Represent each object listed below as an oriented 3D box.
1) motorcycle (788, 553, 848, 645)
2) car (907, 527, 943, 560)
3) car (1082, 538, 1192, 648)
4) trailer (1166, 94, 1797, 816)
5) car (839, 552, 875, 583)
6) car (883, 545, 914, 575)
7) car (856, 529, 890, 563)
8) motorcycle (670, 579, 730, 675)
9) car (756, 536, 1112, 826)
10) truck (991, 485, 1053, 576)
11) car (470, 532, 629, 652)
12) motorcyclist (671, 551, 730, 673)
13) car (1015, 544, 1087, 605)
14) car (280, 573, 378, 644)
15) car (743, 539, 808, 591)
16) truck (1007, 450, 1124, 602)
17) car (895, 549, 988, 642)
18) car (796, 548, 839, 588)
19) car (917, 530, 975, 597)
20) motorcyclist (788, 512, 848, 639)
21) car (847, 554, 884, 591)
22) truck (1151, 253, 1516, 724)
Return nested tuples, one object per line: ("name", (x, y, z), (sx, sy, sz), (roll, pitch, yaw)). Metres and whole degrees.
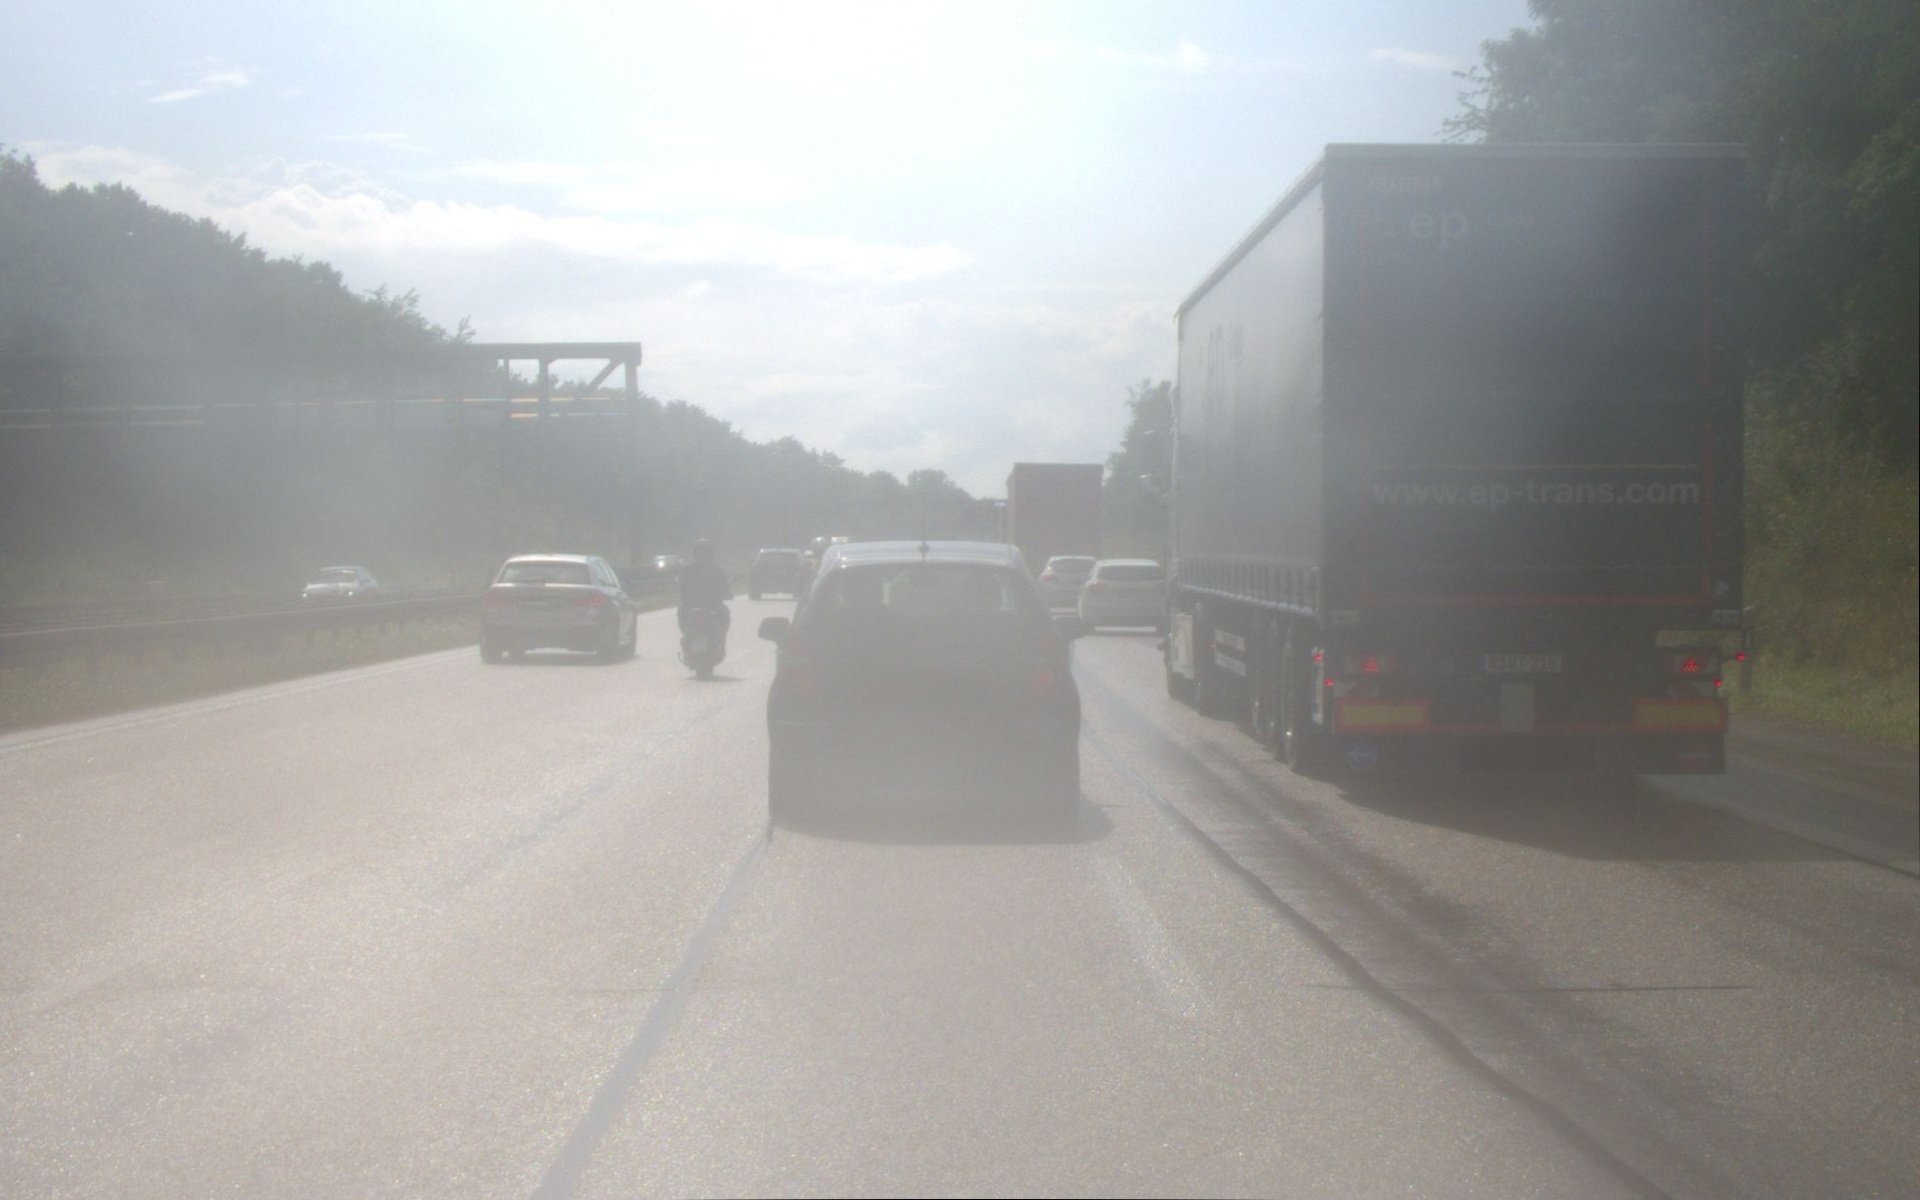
("motorcycle", (-1.988, -0.028, 48.351), (0.819, 1.258, 2.118), (1, 1, -2))
("car", (-1.609, -2.590, 158.015), (1.631, 1.485, 3.437), (0, 1, -1))
("car", (3.329, -0.141, 65.317), (1.849, 2.007, 4.087), (1, 0, 0))
("trailer", (3.535, -0.968, 27.587), (3.088, 4.298, 14.105), (0, 1, 1))
("car", (-4.977, -1.570, 166.076), (1.675, 1.485, 3.437), (0, 1, -1))
("car", (-4.106, -2.676, 230.063), (1.993, 2.007, 4.000), (1, 0, -1))
("car", (-5.220, -3.263, 206.910), (1.993, 2.007, 4.000), (1, 0, -1))
("motorcycle", (-3.107, 0.311, 41.168), (0.676, 1.083, 1.982), (1, 1, -4))
("car", (-0.174, 0.405, 20.741), (1.915, 1.560, 4.314), (0, 1, -1))
("truck", (3.241, -3.629, 182.751), (2.882, 4.671, 12.659), (1, 1, -1))
("car", (-5.689, -0.139, 48.080), (1.758, 1.589, 4.331), (0, 1, -1))
("motorcyclist", (-3.100, 0.143, 41.150), (0.670, 1.437, 1.020), (1, 0, -4))
("car", (2.273, -0.651, 86.530), (1.675, 1.485, 3.437), (0, 1, -1))
("car", (-18.506, 0.231, 100.995), (1.993, 2.007, 4.806), (1, 1, 0))
("car", (-5.866, -1.127, 109.672), (1.893, 1.622, 4.195), (0, 1, -1))
("truck", (3.129, -2.213, 104.352), (3.202, 4.389, 9.432), (0, 1, 0))
("car", (-0.438, -0.117, 77.111), (1.993, 2.007, 4.000), (1, 0, -1))
("car", (-5.773, -1.294, 139.574), (1.675, 1.591, 3.437), (0, 1, -1))
("car", (-0.438, -1.090, 102.154), (1.675, 1.929, 3.773), (0, 1, -1))
("motorcyclist", (-1.992, -0.344, 48.302), (0.821, 1.754, 1.390), (1, 0, -2))
("car", (-5.257, -1.521, 191.330), (1.993, 2.007, 4.000), (1, 0, -1))
("truck", (3.601, -1.064, 34.569), (3.052, 4.310, 5.886), (1, 1, 1))
